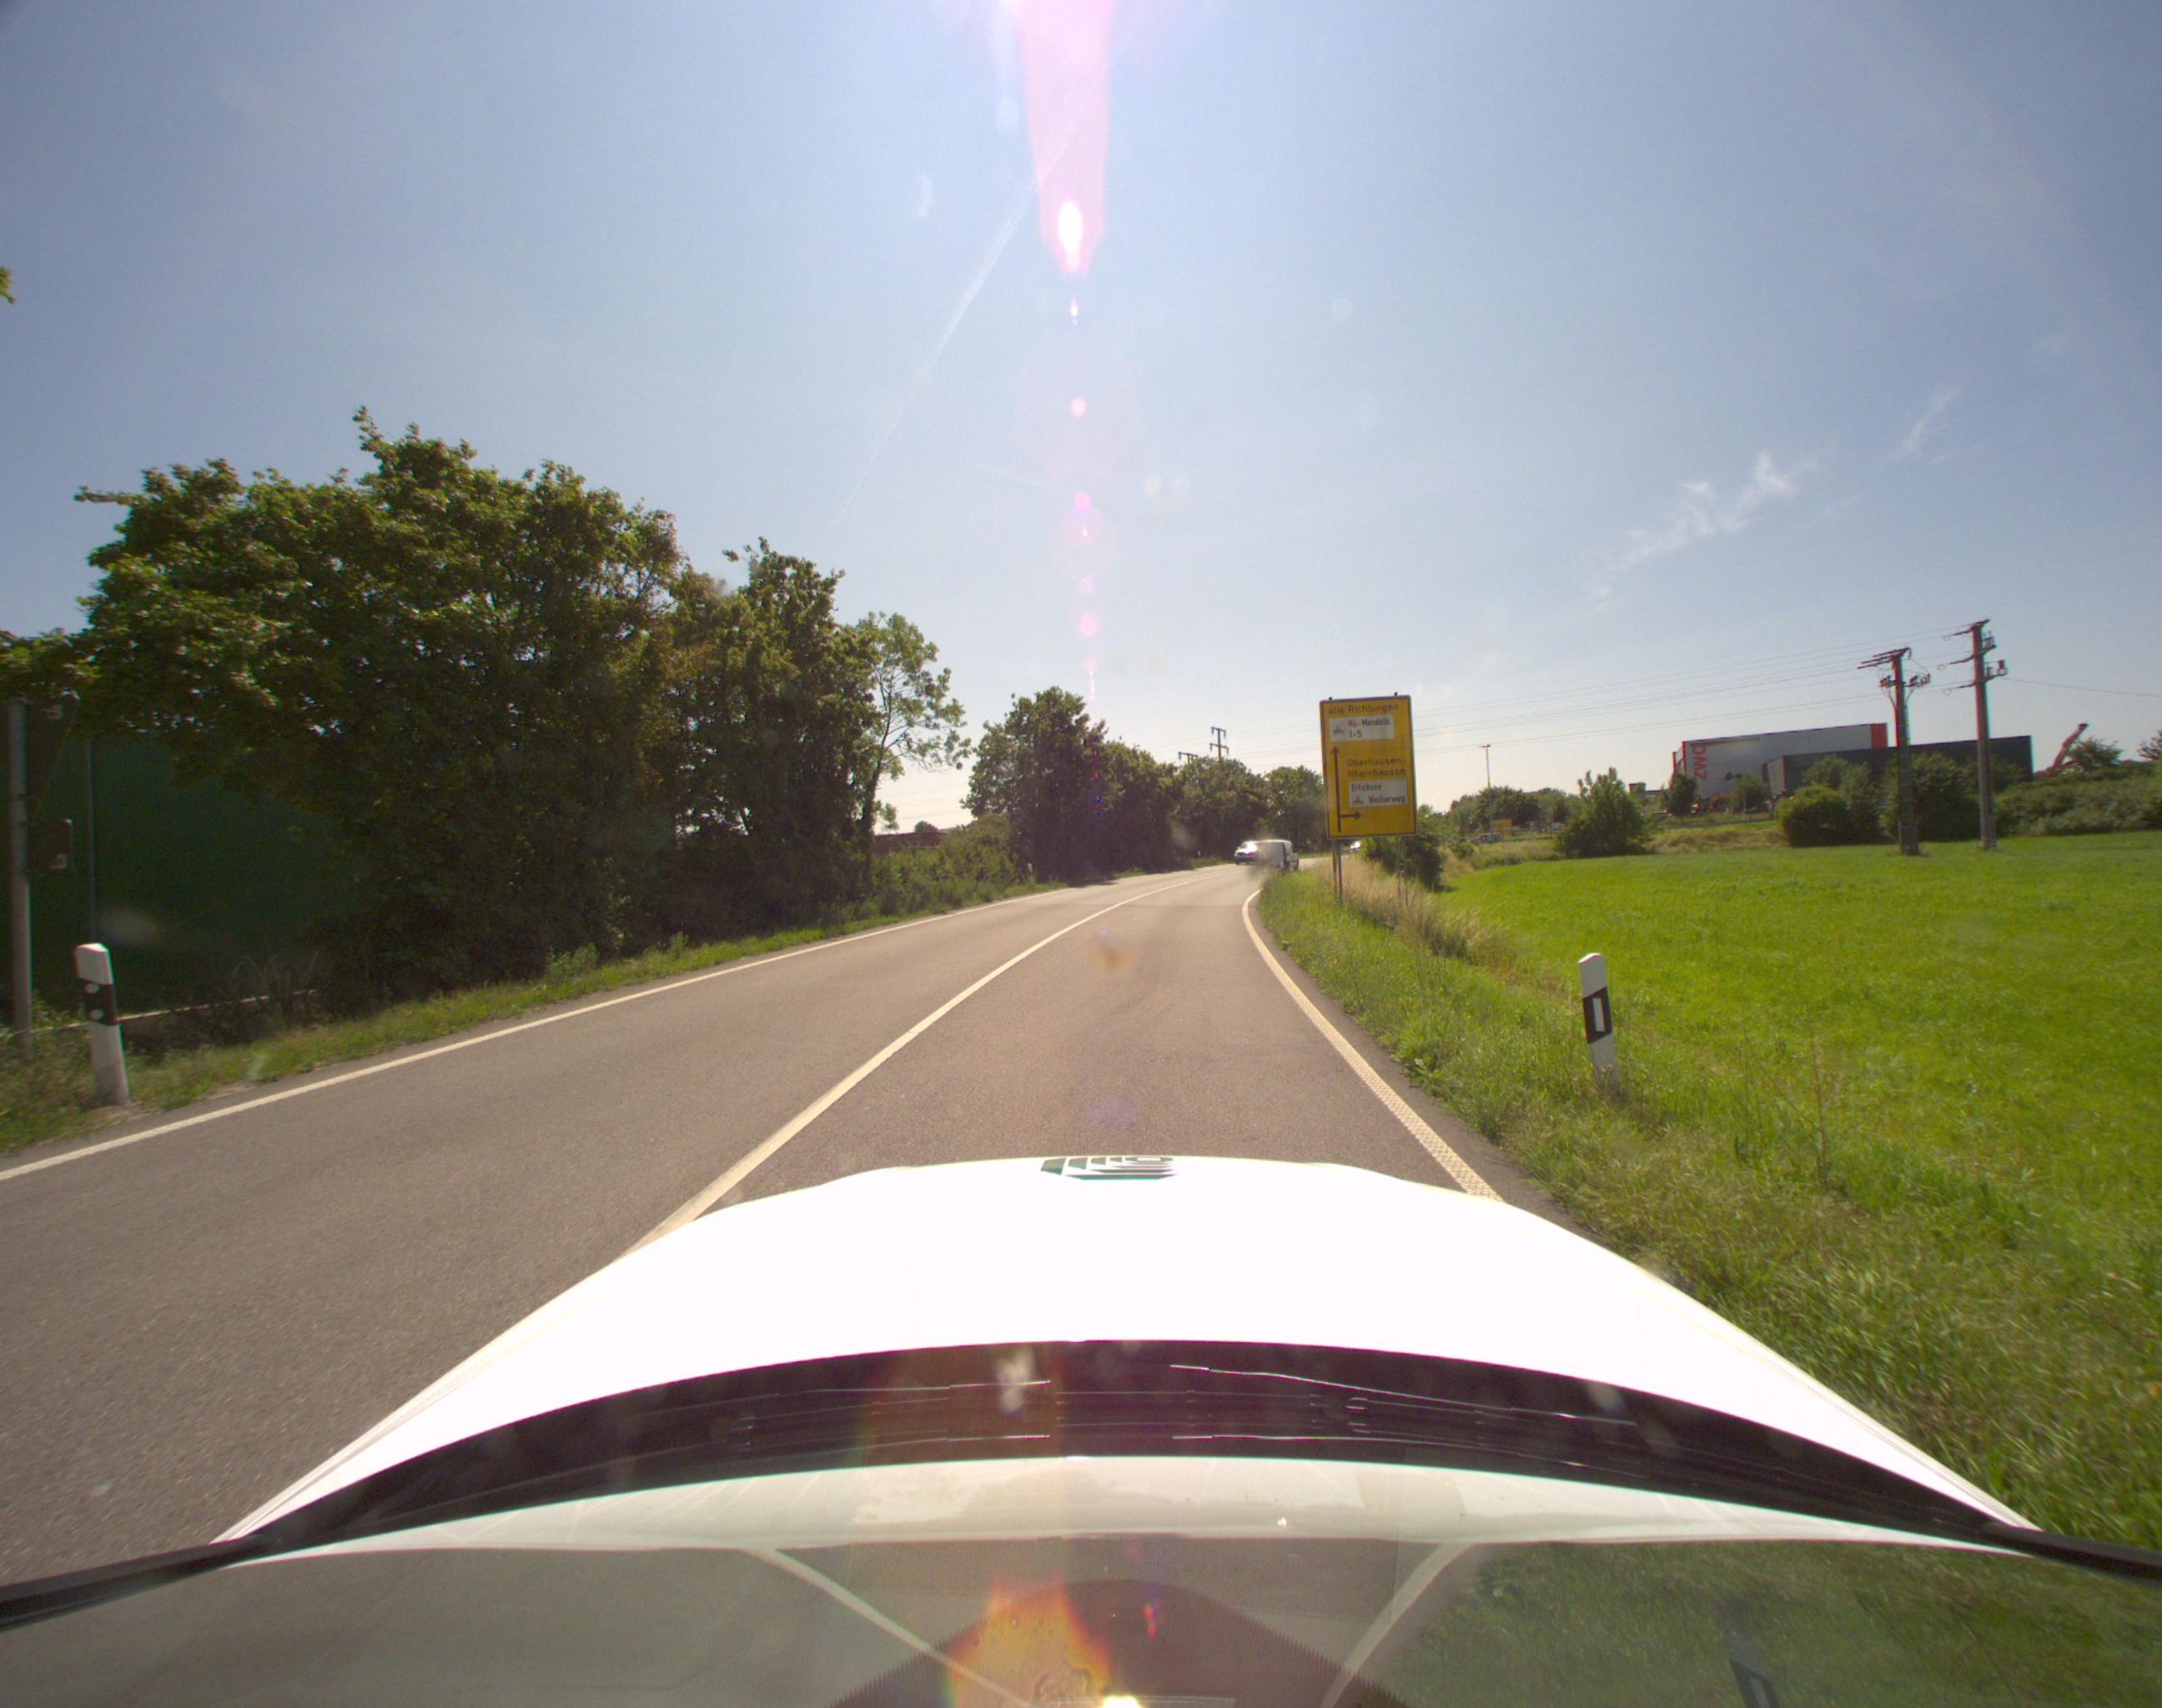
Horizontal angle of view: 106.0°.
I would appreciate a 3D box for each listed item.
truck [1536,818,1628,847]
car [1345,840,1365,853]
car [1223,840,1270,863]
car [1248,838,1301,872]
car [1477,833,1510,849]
[{"bbox_3d":[57.761,-2.426,94.072,8.745,3.137,3.108,-1,-1,0],"label":"truck"},{"bbox_3d":[33.928,-0.917,100.829,1.724,1.589,4.025,-1,1,29],"label":"car"},{"bbox_3d":[11.879,-0.209,58.112,1.837,1.601,4.807,0,1,30],"label":"car"},{"bbox_3d":[10.736,0.047,44.973,1.886,1.732,3.845,-3,-1,27],"label":"car"},{"bbox_3d":[56.121,-1.750,110.905,3.949,2.014,2.012,-1,-1,28],"label":"car"}]
